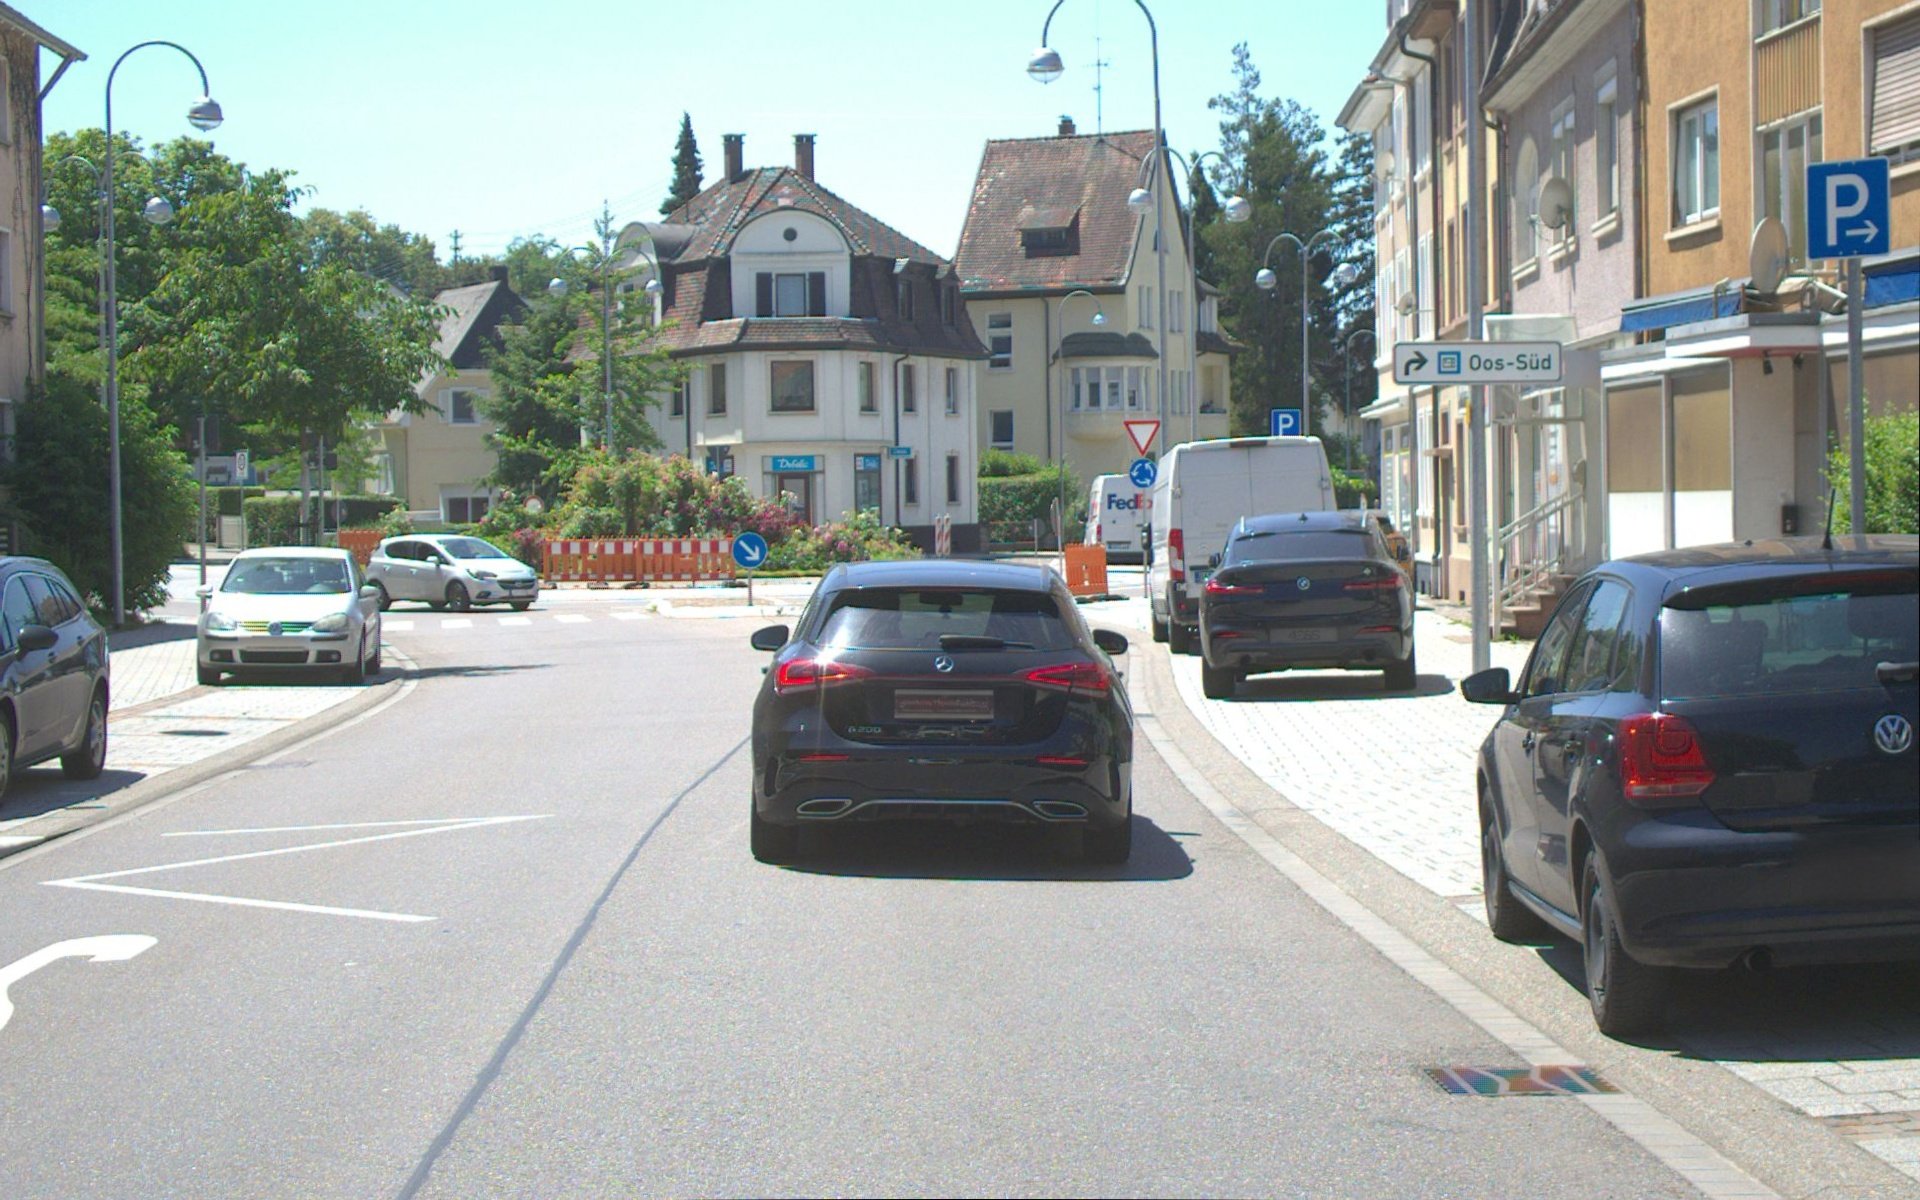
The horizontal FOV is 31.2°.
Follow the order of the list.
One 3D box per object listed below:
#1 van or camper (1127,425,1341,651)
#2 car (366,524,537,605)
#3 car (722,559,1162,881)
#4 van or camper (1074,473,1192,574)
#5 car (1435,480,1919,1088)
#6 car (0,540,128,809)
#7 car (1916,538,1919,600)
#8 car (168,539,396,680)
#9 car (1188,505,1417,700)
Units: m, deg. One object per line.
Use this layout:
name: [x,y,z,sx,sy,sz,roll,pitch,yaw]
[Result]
van or camper: [3.342,-0.786,43.086,2.165,2.580,5.766,-2,1,0]
car: [-9.886,-0.692,66.637,1.660,1.491,3.758,-2,1,-37]
car: [-0.113,0.531,17.359,1.953,1.422,4.000,1,0,-1]
van or camper: [4.597,-2.029,90.620,2.207,2.601,3.997,0,1,17]
car: [2.695,0.448,11.554,1.728,1.627,4.000,-3,1,3]
car: [-6.556,0.404,21.327,1.857,1.501,4.563,1,2,-3]
car: [3.137,0.590,5.266,1.803,1.470,4.721,-4,1,-2]
car: [-7.394,0.065,37.856,1.993,1.415,4.089,1,1,-5]
car: [3.211,-0.016,31.632,1.896,1.602,4.363,-2,1,7]
